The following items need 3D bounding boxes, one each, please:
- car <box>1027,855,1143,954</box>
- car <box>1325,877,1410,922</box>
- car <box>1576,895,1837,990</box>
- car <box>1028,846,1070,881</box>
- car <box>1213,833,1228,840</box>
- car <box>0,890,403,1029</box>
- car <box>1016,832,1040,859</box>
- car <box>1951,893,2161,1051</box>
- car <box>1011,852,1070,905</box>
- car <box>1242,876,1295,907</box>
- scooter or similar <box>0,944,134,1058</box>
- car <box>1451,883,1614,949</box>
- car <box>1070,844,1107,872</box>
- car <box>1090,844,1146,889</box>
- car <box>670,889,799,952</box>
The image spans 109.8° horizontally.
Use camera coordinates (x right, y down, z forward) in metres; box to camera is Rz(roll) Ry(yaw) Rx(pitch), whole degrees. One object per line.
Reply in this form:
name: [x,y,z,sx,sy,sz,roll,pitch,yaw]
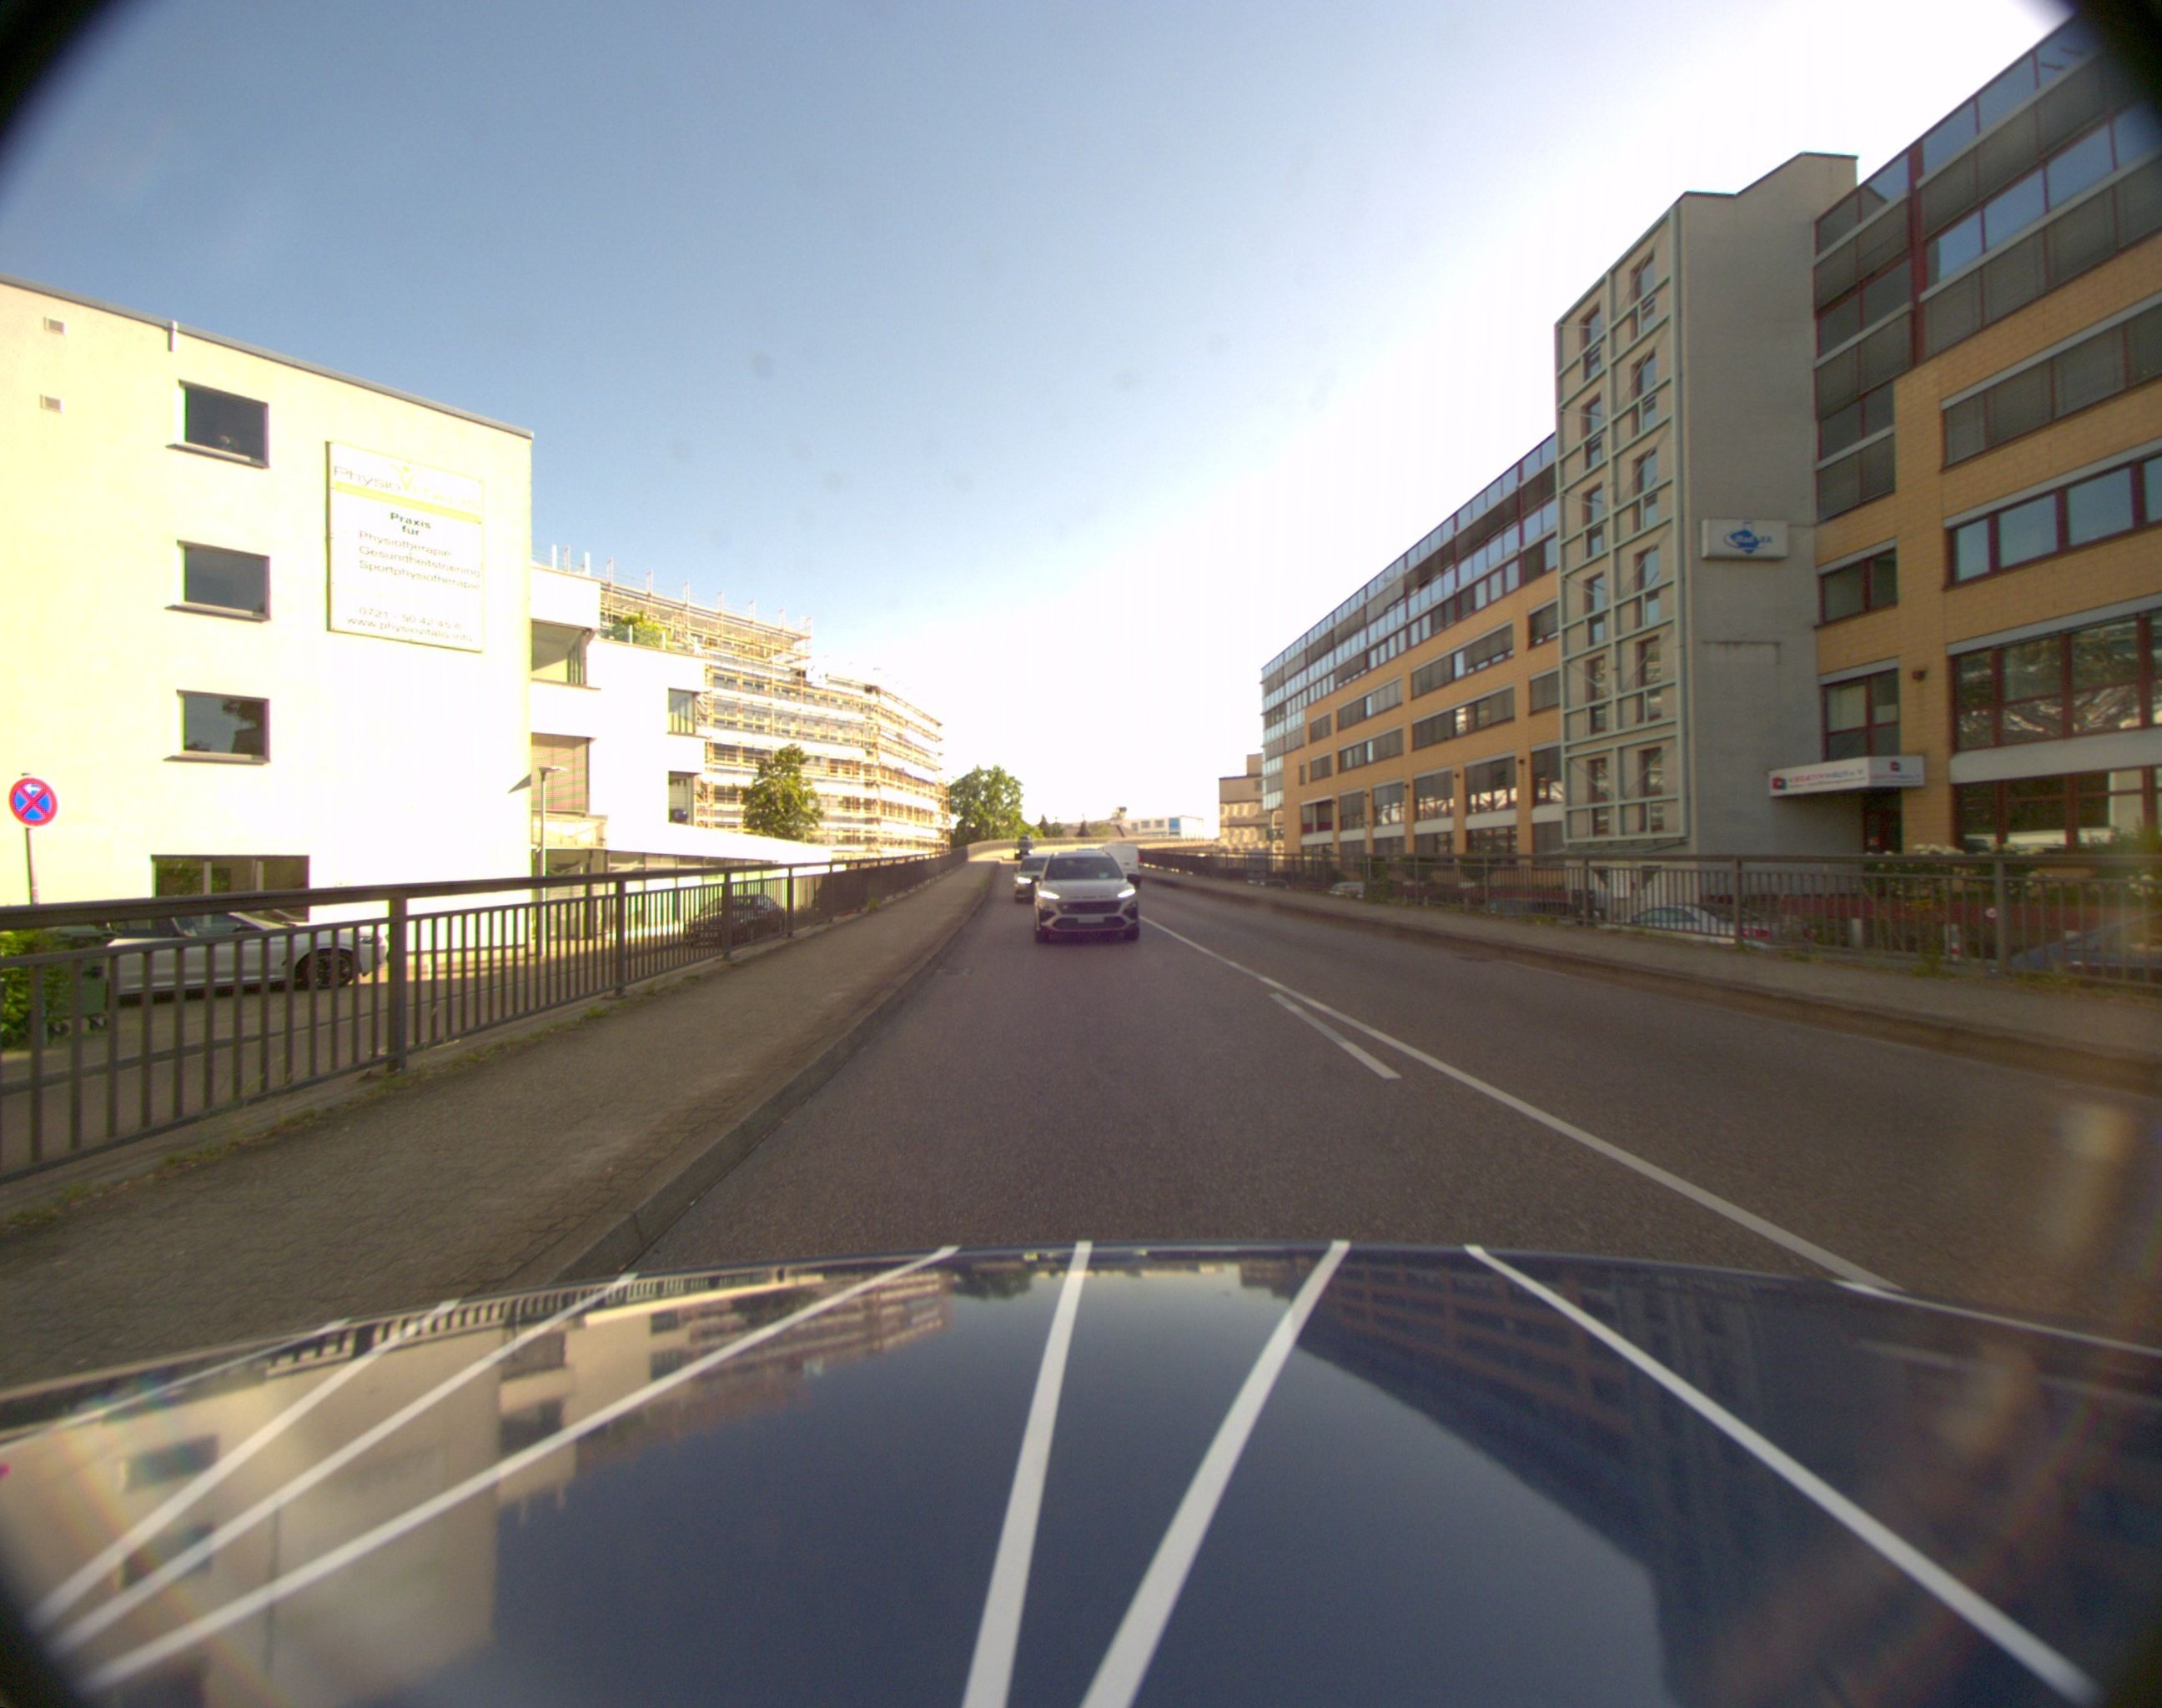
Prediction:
car: [0.021,0.821,14.512,1.849,1.561,4.220,-1,0,-1]
car: [12.043,1.869,32.220,1.999,1.714,4.000,0,-1,-2]
car: [13.203,1.784,16.468,1.825,1.594,4.355,0,-1,-5]
car: [-1.511,0.403,36.519,1.849,1.527,4.506,-2,1,-2]
car: [29.844,-3.737,162.571,1.821,1.594,4.007,-1,0,29]
car: [-15.205,1.687,13.482,4.658,1.757,1.823,-2,1,-43]
car: [-4.815,-0.810,69.417,1.910,2.202,4.595,-1,3,-2]
car: [13.874,1.439,8.800,1.956,1.747,4.686,-2,-1,-7]
car: [-1.280,0.731,24.739,1.721,1.483,4.167,-2,1,-2]
car: [10.831,2.137,44.149,1.999,1.652,4.000,0,-1,-2]
scooter or similar: [-12.848,1.796,9.248,1.462,1.212,0.785,-3,0,-9]
car: [12.837,1.707,21.973,1.825,1.594,4.355,0,-1,-5]
car: [0.418,0.228,46.027,1.825,1.594,3.998,-1,0,-5]
car: [1.495,0.518,32.753,1.815,1.790,5.119,0,-1,-4]
car: [-10.421,1.951,23.323,1.849,1.422,4.681,-2,1,-1]
